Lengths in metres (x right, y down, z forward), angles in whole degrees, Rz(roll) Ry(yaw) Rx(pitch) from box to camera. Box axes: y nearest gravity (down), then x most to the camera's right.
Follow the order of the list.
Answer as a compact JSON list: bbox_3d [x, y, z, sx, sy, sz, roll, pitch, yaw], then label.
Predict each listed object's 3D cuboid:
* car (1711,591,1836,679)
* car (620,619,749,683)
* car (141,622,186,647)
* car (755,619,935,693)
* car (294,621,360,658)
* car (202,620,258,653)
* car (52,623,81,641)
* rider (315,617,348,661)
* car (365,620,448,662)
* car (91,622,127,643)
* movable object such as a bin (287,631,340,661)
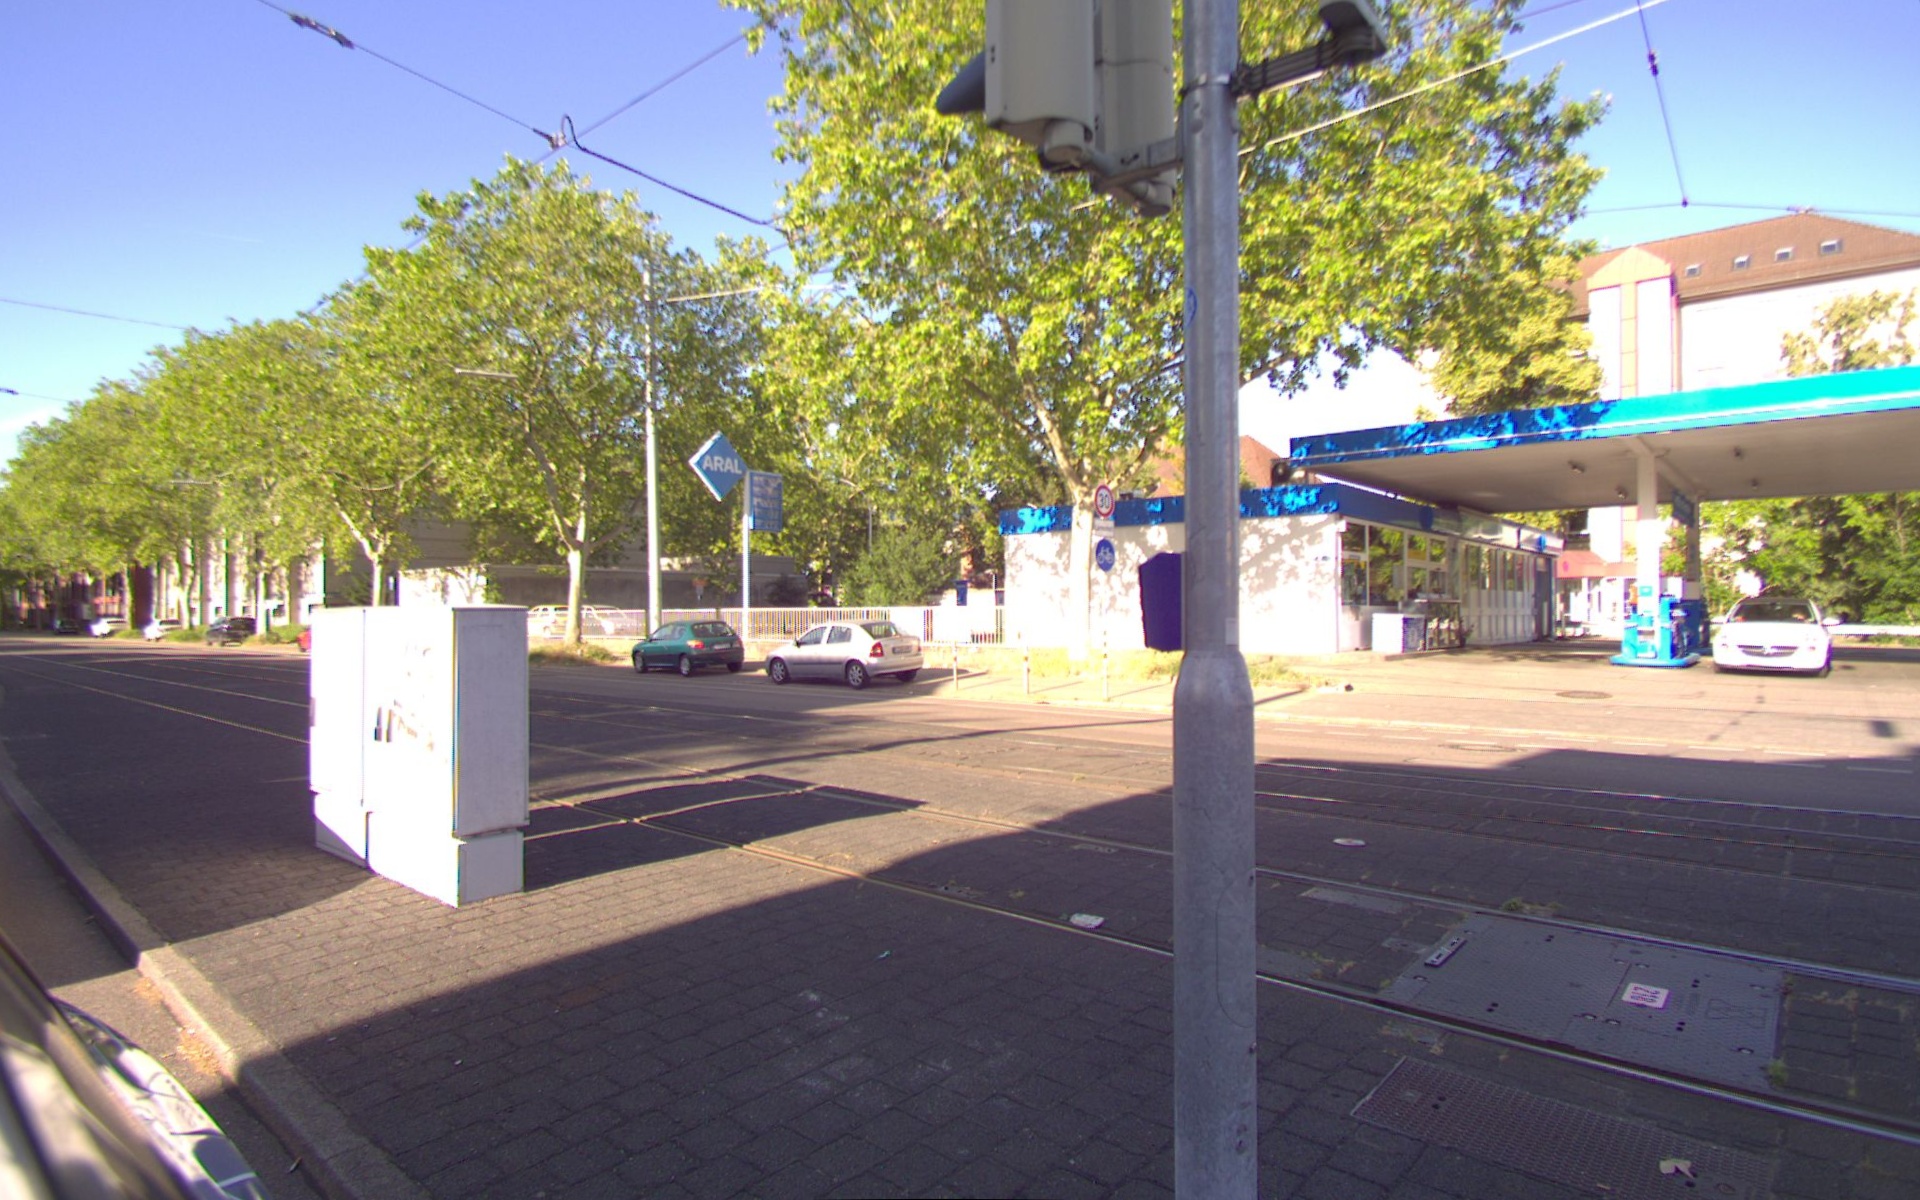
[{"bbox_3d":[15.893,0.604,19.702,1.743,1.446,3.882,-1,1,41],"label":"car"},{"bbox_3d":[-7.371,1.304,26.930,3.606,1.455,1.598,-1,2,43],"label":"car"},{"bbox_3d":[-53.701,2.303,68.226,3.878,1.552,1.731,-1,2,43],"label":"car"},{"bbox_3d":[-2.622,1.194,22.587,3.987,1.376,1.666,-2,3,41],"label":"car"},{"bbox_3d":[-28.745,1.752,45.929,3.377,1.506,1.639,-1,2,43],"label":"car"},{"bbox_3d":[-40.744,2.001,56.463,3.878,1.603,1.731,-1,2,43],"label":"car"},{"bbox_3d":[-85.040,3.035,96.308,3.731,1.471,1.639,-1,2,43],"label":"car"},{"bbox_3d":[-24.128,1.481,38.848,1.104,1.660,0.717,-1,0,36],"label":"rider"},{"bbox_3d":[-21.837,1.578,39.891,3.769,1.455,1.701,-1,2,43],"label":"car"},{"bbox_3d":[-66.790,2.521,79.391,3.731,1.471,1.639,-1,2,43],"label":"car"},{"bbox_3d":[-25.264,1.779,39.537,1.831,1.111,1.164,-1,0,36],"label":"movable object such as a bin"}]
